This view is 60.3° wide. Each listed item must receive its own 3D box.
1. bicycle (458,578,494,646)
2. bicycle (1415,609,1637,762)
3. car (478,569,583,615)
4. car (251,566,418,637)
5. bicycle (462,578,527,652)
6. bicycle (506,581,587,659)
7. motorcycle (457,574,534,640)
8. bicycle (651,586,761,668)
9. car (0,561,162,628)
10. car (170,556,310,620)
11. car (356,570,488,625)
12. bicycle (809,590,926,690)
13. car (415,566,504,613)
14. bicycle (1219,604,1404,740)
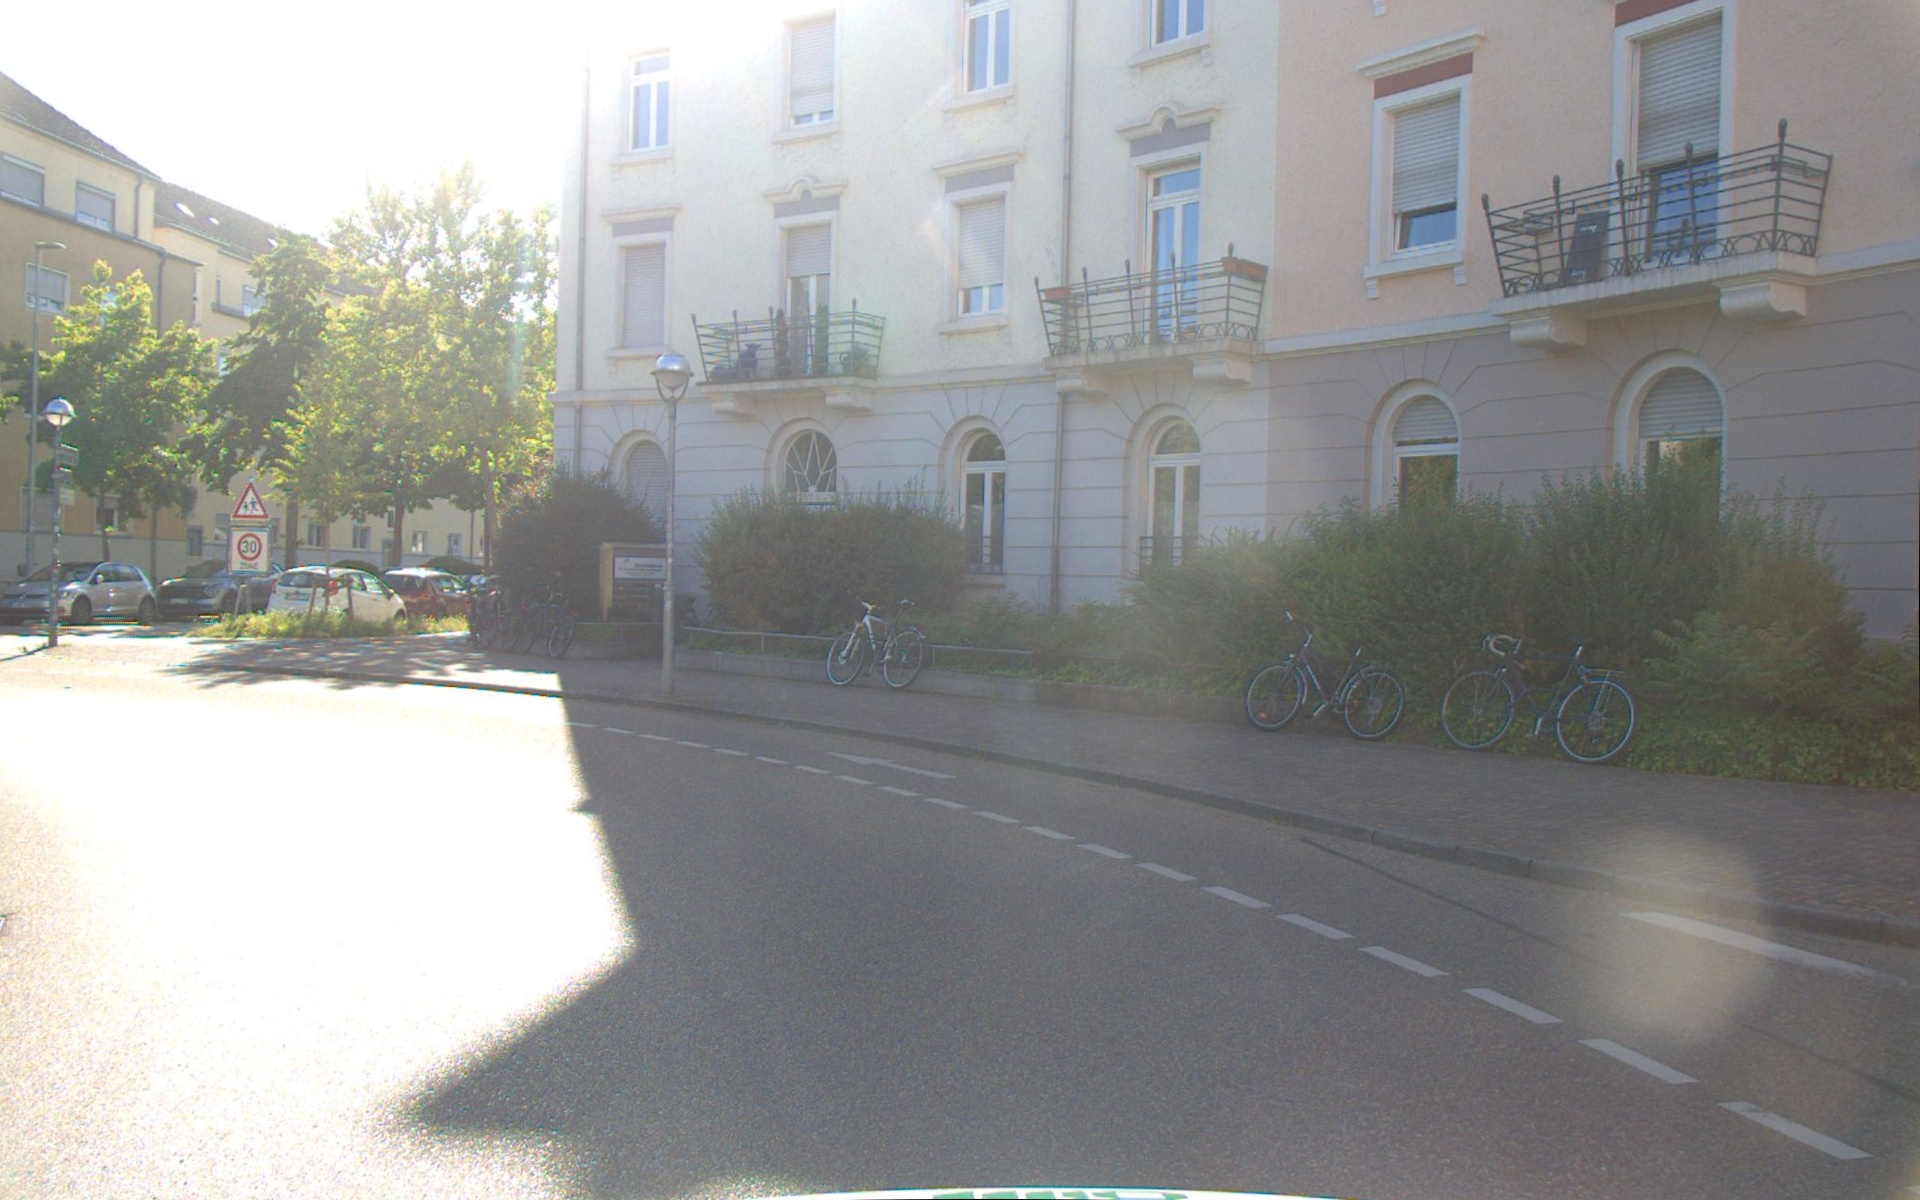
[{"bbox_3d":[-8.444,0.192,28.897,0.490,1.127,1.944,1,1,-13],"label":"bicycle"},{"bbox_3d":[4.528,0.656,13.319,0.498,1.107,1.660,-1,2,-42],"label":"bicycle"},{"bbox_3d":[-12.391,-0.232,47.910,1.756,1.277,3.721,1,0,5],"label":"car"},{"bbox_3d":[-13.706,0.029,36.470,1.756,1.437,4.003,1,0,7],"label":"car"},{"bbox_3d":[-7.567,0.228,26.828,0.494,1.127,1.779,0,1,-33],"label":"bicycle"},{"bbox_3d":[-6.353,0.285,25.370,0.495,1.127,1.774,0,2,-40],"label":"bicycle"},{"bbox_3d":[-8.900,0.119,31.763,0.866,1.212,1.491,-1,1,9],"label":"motorcycle"},{"bbox_3d":[-3.650,0.369,23.856,0.491,1.127,1.674,1,1,39],"label":"bicycle"},{"bbox_3d":[-20.327,-0.131,38.065,1.760,1.436,4.002,1,0,3],"label":"car"},{"bbox_3d":[-19.117,-0.315,44.117,1.756,1.603,4.002,1,0,4],"label":"car"},{"bbox_3d":[-13.301,-0.078,41.123,1.756,1.277,3.721,1,0,5],"label":"car"},{"bbox_3d":[-1.120,0.456,19.692,0.498,1.107,1.662,-1,2,-40],"label":"bicycle"},{"bbox_3d":[-17.940,-0.360,59.472,1.756,1.603,4.002,1,0,4],"label":"car"},{"bbox_3d":[3.144,0.617,14.917,0.498,1.107,1.660,-1,2,-42],"label":"bicycle"}]
